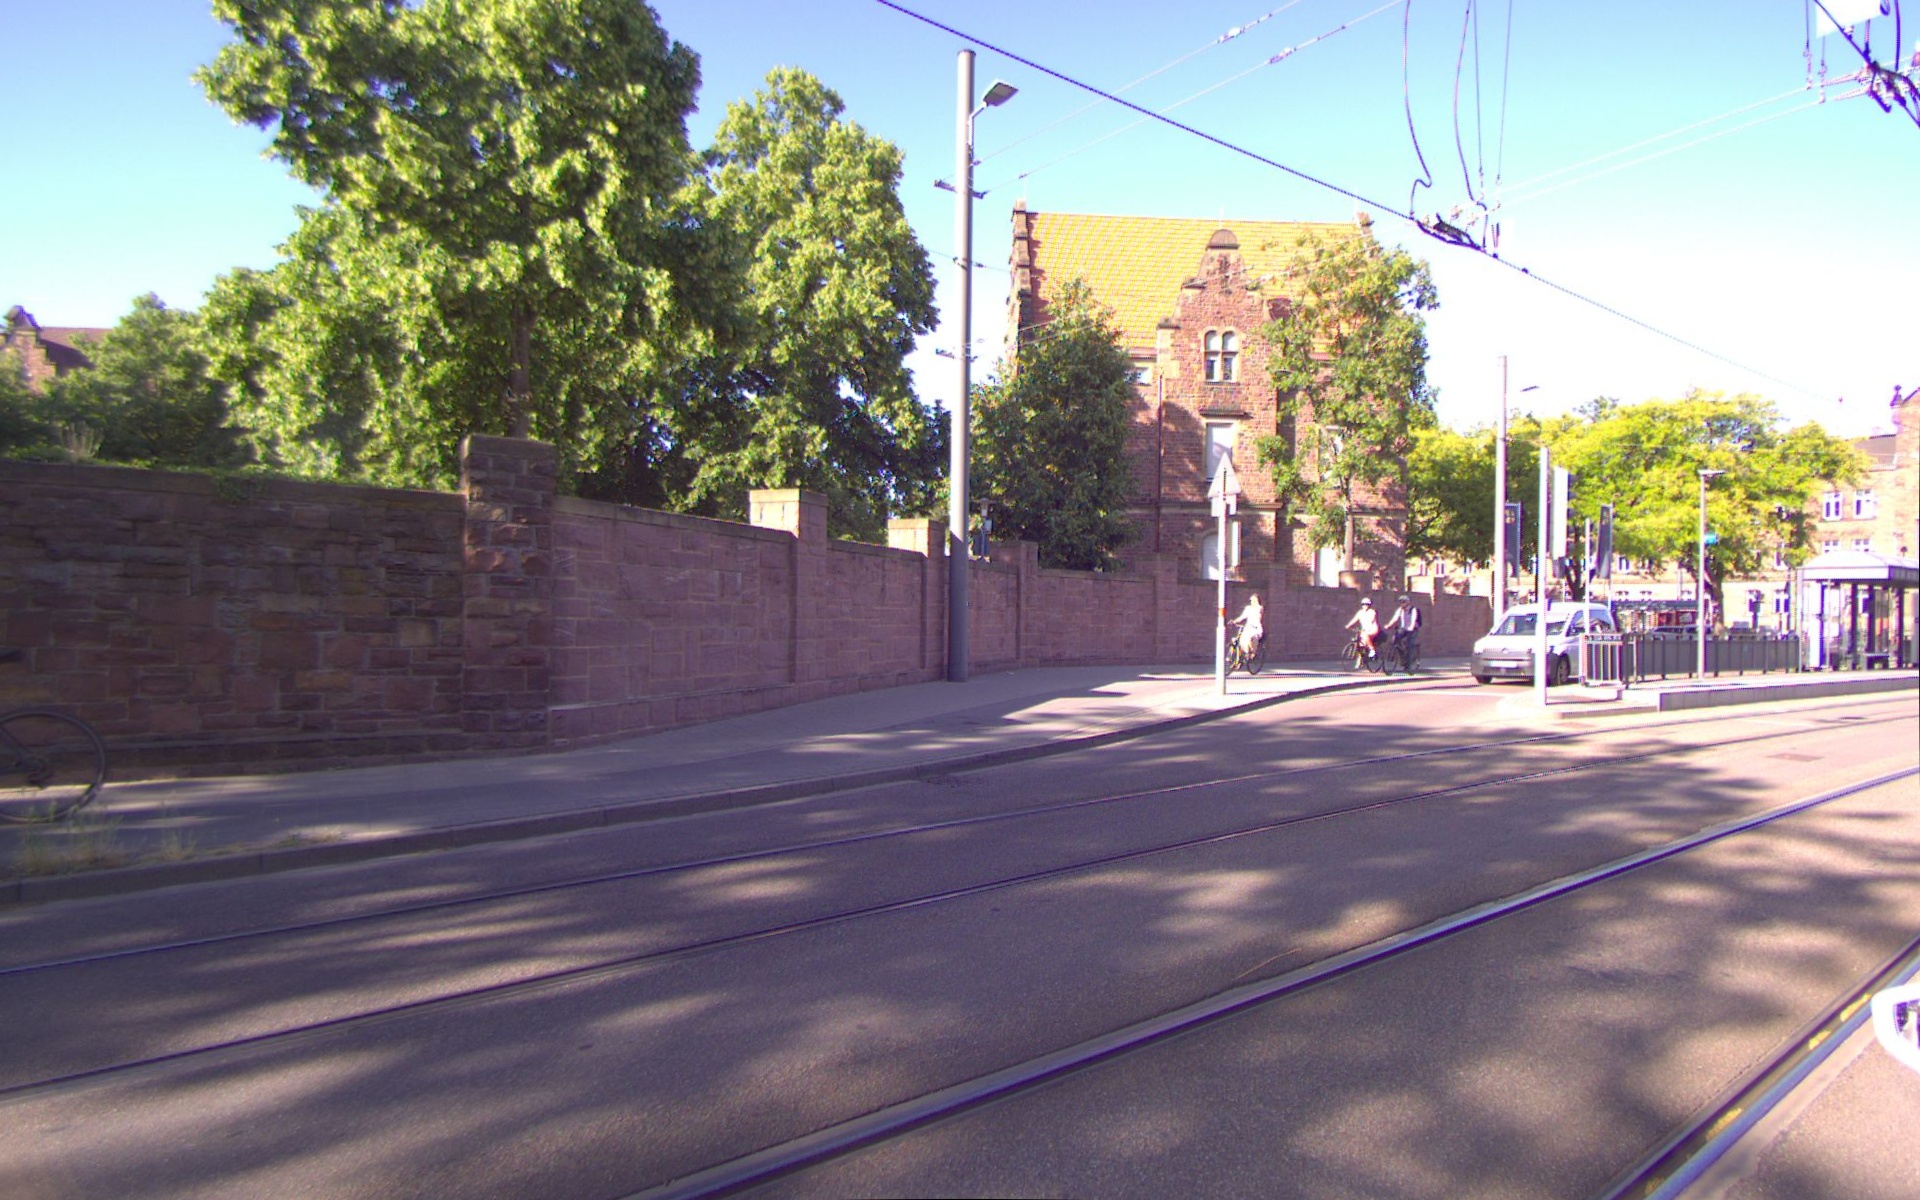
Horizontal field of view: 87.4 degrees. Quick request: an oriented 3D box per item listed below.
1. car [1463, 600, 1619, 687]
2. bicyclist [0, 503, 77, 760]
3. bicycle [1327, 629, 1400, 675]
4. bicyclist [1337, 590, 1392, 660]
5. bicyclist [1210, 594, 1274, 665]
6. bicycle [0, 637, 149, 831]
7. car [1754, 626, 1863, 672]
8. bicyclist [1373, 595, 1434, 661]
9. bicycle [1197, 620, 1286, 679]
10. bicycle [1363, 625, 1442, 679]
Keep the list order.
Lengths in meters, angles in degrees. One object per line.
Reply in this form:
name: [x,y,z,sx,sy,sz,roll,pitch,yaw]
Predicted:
car: [13.232,0.946,22.787,4.221,1.811,1.811,1,-2,-41]
bicyclist: [-6.005,0.176,5.868,1.139,1.478,0.649,1,0,-31]
bicycle: [10.134,1.290,25.218,1.993,1.087,0.665,1,1,-33]
bicyclist: [10.148,0.608,25.195,1.219,1.697,0.646,0,1,-32]
bicyclist: [6.145,0.633,21.903,1.179,1.490,0.751,2,0,-35]
bicycle: [-6.016,0.762,5.874,1.834,1.103,0.681,4,-3,-31]
car: [28.807,1.616,34.047,4.450,1.401,1.786,1,-1,-35]
bicyclist: [10.736,0.681,24.317,1.334,1.557,0.756,1,-1,-34]
bicycle: [6.152,1.059,21.920,1.933,1.214,0.810,2,0,-35]
bicycle: [10.728,1.236,24.316,2.067,1.247,0.772,1,-1,-34]
